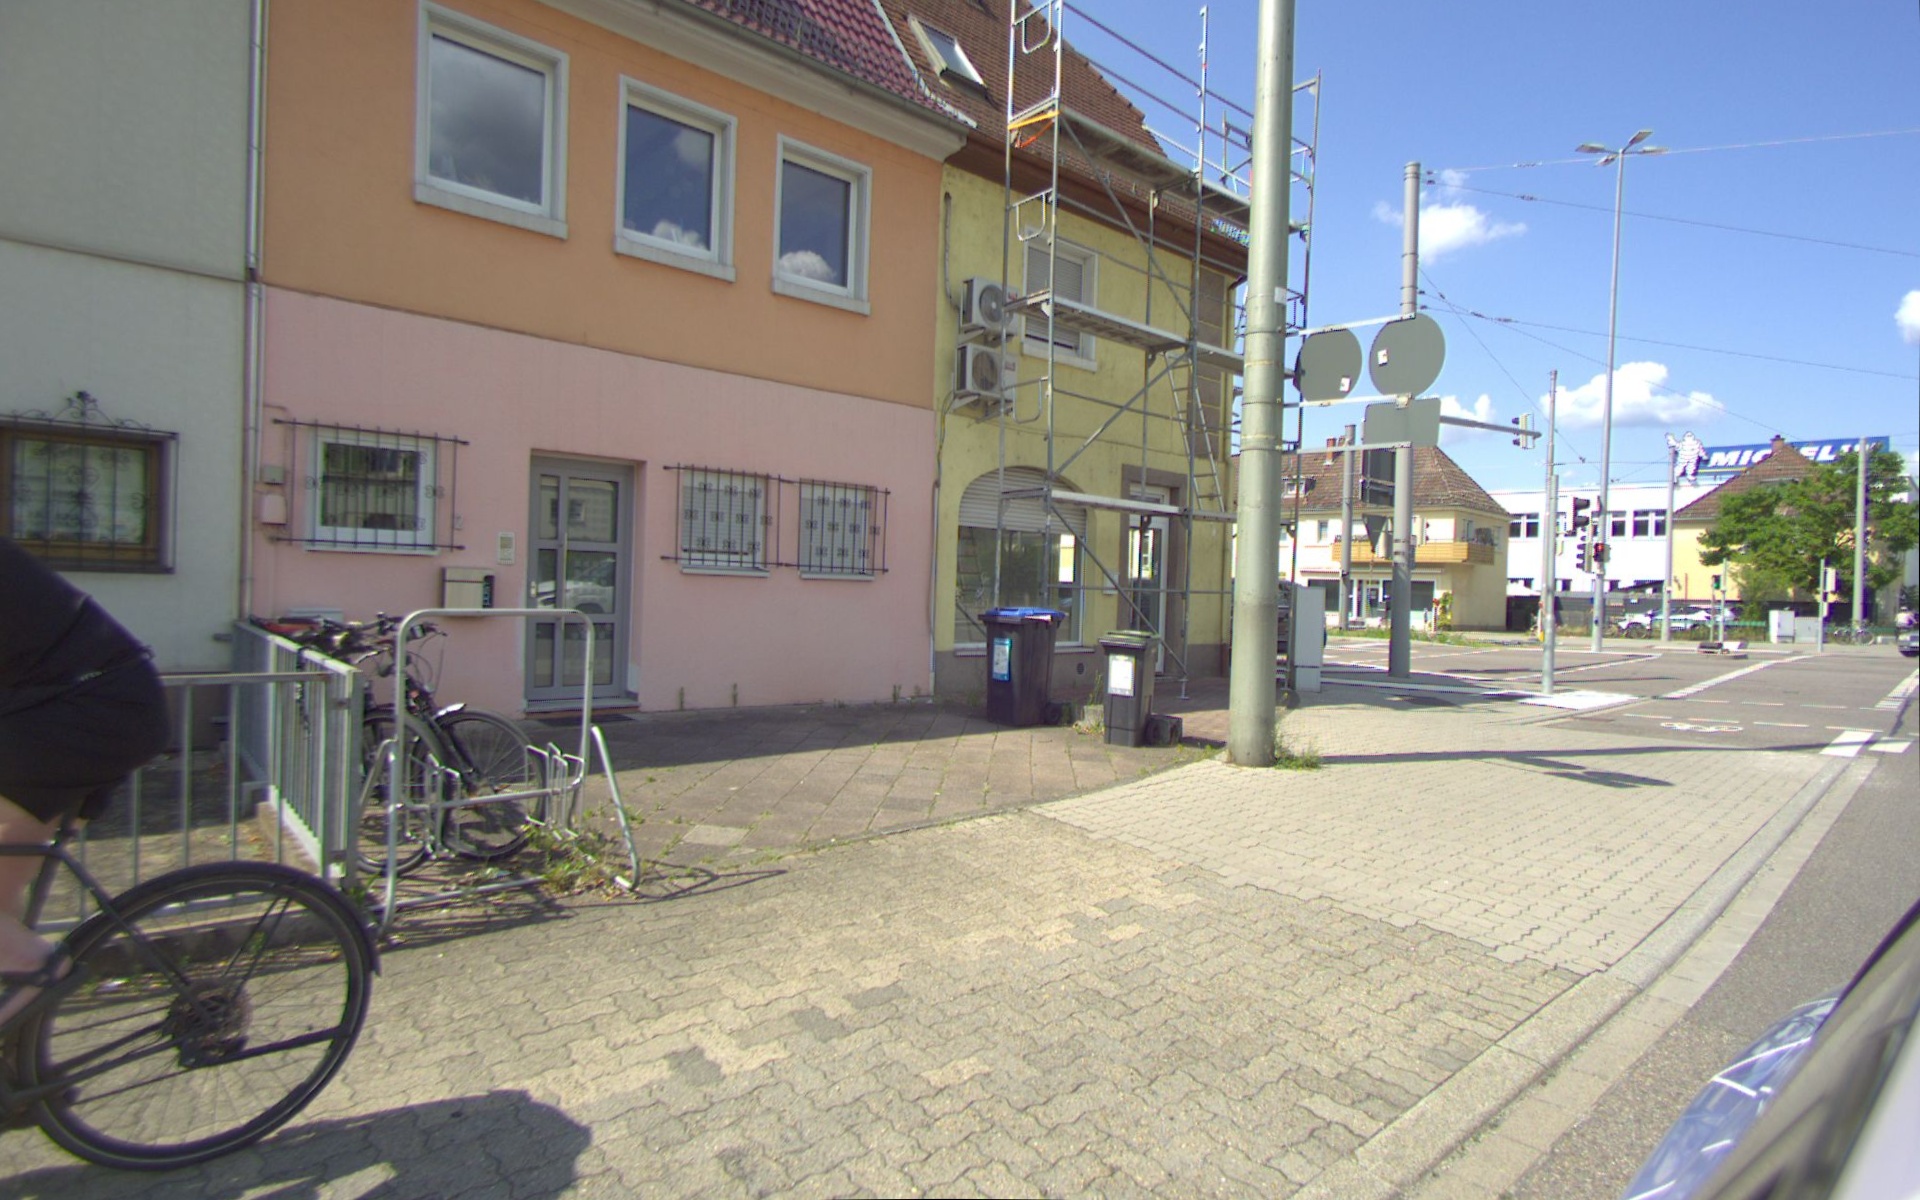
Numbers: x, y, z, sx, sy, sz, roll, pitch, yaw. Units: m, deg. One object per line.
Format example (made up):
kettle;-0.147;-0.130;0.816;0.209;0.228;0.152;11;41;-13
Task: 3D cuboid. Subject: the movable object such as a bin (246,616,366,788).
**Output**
movable object such as a bin;-3.974;0.589;6.146;0.548;0.958;0.468;0;1;-41

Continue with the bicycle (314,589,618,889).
bicycle;-2.727;0.552;5.351;0.772;1.118;2.667;0;2;-41

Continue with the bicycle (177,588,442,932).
bicycle;-3.234;0.561;4.865;0.679;1.133;2.731;0;2;-41

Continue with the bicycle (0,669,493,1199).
bicycle;-2.111;0.750;2.070;1.935;1.088;0.830;2;1;-39

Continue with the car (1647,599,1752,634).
car;37.221;0.794;51.012;4.105;1.617;1.772;1;0;43

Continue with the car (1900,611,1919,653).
car;34.671;1.112;34.328;4.371;1.415;1.729;1;0;-9

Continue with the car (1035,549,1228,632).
car;3.740;-0.183;21.732;4.059;1.616;1.997;0;0;-41

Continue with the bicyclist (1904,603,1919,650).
bicyclist;37.007;1.015;39.148;0.650;1.760;0.969;-1;-1;42

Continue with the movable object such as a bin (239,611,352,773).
movable object such as a bin;-4.273;0.565;6.507;0.548;0.958;0.469;0;1;-41

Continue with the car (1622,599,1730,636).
car;34.913;0.827;49.422;4.105;1.617;1.772;1;0;43

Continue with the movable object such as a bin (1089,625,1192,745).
movable object such as a bin;1.533;0.697;8.582;0.728;0.930;0.512;0;1;-41

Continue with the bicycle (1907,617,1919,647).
bicycle;37.230;1.230;39.255;0.650;1.132;1.564;0;0;42

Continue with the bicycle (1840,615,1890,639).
bicycle;38.762;1.156;43.352;1.722;1.031;0.463;0;0;-1

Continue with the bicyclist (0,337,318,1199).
bicyclist;-2.042;0.418;2.114;1.064;1.816;0.830;2;1;-38

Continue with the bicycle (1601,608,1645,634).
bicycle;29.252;0.916;44.674;1.555;1.152;0.379;0;0;22

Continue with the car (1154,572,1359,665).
car;5.866;0.320;19.828;4.059;1.616;1.997;0;0;-41

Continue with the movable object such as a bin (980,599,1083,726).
movable object such as a bin;0.673;0.552;9.438;0.840;1.119;0.512;0;0;-41
